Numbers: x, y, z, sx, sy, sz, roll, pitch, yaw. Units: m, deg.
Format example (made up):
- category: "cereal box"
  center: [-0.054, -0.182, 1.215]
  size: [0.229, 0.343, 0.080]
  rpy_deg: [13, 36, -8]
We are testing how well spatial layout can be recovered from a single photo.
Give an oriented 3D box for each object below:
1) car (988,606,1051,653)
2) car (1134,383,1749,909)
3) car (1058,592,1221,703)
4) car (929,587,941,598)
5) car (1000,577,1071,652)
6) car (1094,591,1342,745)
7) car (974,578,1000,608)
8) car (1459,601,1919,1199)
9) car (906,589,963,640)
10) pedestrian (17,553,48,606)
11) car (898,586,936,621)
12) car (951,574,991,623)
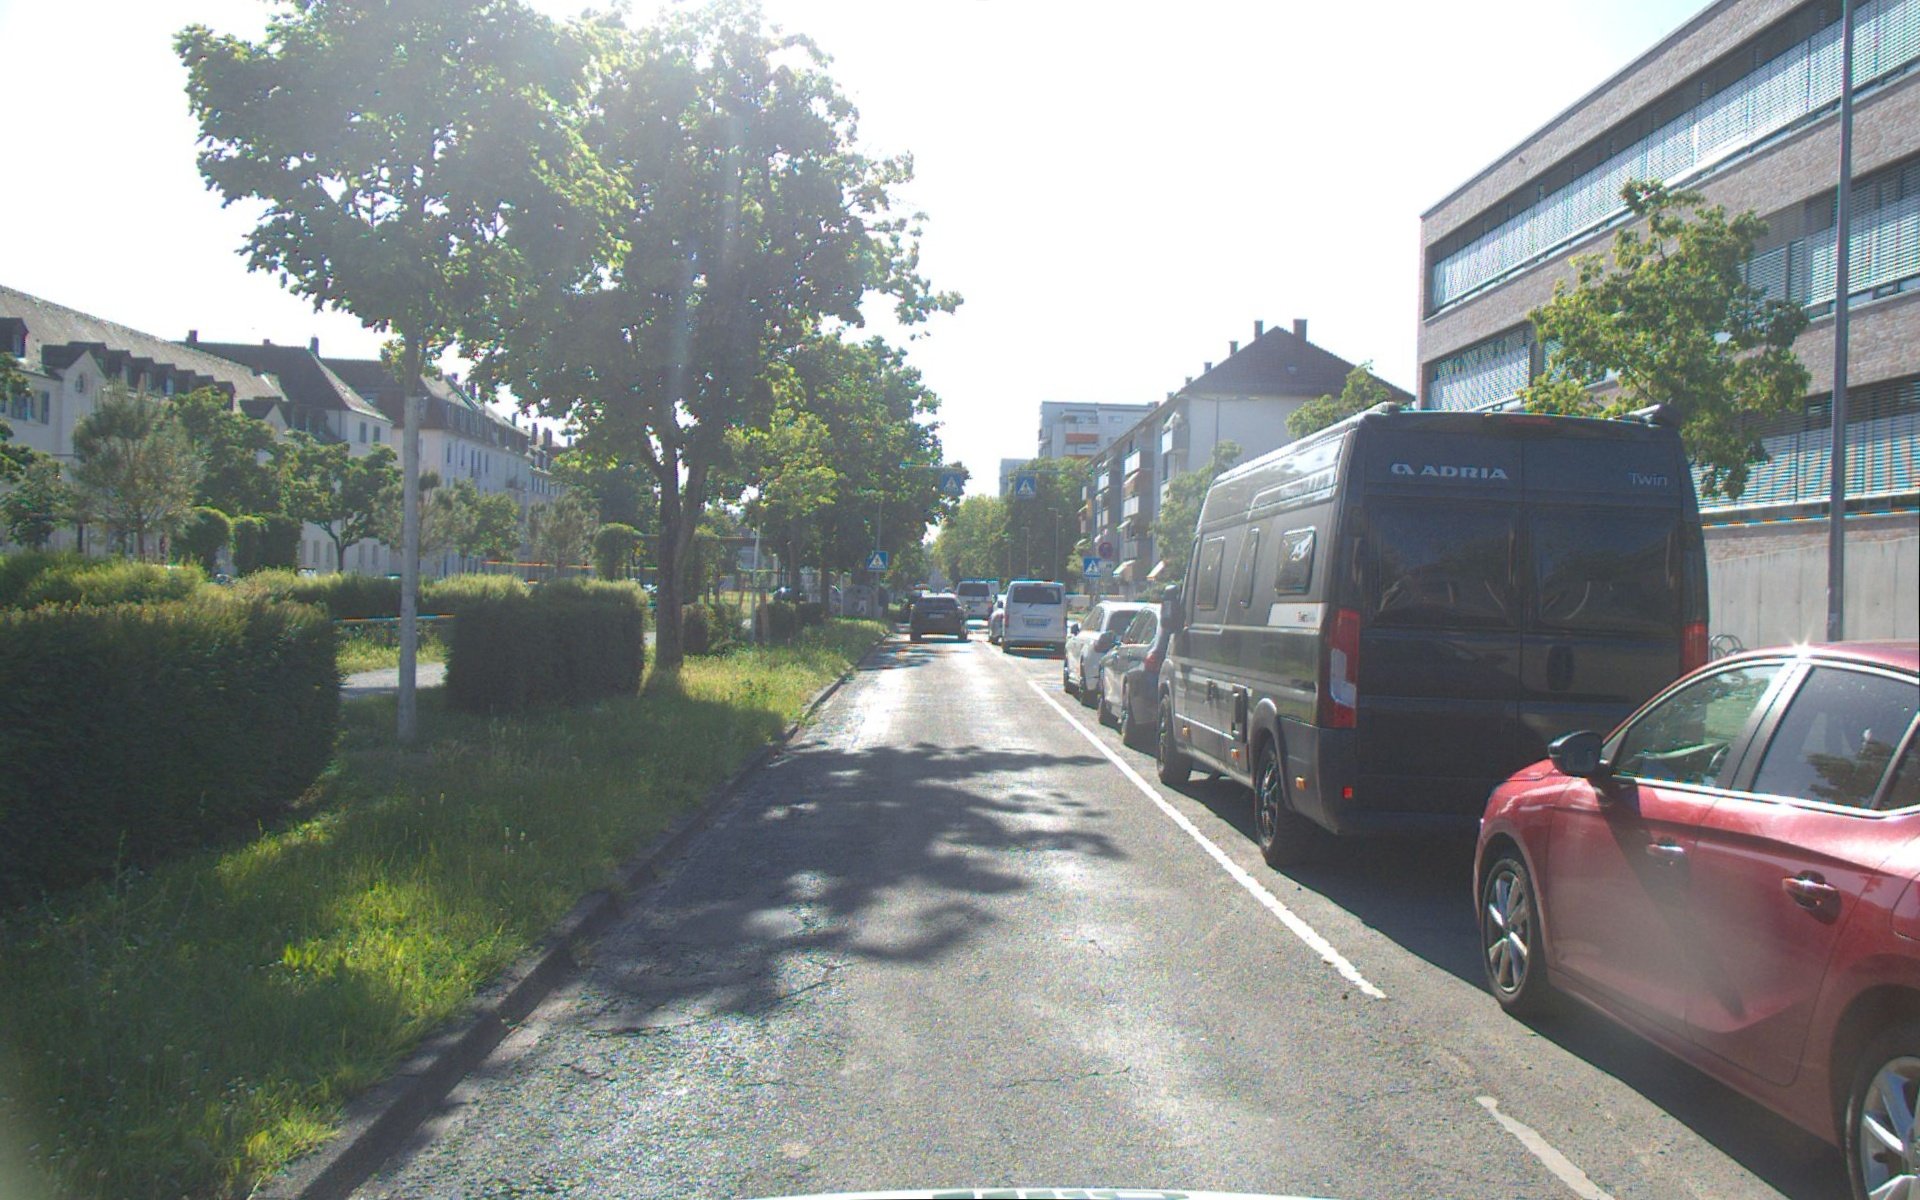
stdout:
- category: "car"
  center: [1.809, 0.887, 51.206]
  size: [1.729, 1.342, 4.167]
  rpy_deg: [2, 0, -1]
- category: "car"
  center: [2.734, 0.217, 11.442]
  size: [2.073, 2.559, 6.529]
  rpy_deg: [1, 0, -2]
- category: "car"
  center: [2.537, 0.622, 24.414]
  size: [1.758, 1.445, 4.656]
  rpy_deg: [1, 0, -2]
- category: "car"
  center: [-3.670, -1.061, 242.221]
  size: [1.758, 1.537, 3.999]
  rpy_deg: [1, 0, -1]
- category: "car"
  center: [2.001, 0.357, 44.785]
  size: [1.757, 1.887, 4.414]
  rpy_deg: [2, 0, 1]
- category: "car"
  center: [2.666, 0.642, 18.191]
  size: [1.953, 1.445, 4.635]
  rpy_deg: [1, 0, -1]
- category: "car"
  center: [2.315, -0.613, 143.057]
  size: [1.953, 2.472, 4.499]
  rpy_deg: [3, 0, -1]
- category: "car"
  center: [3.010, 0.773, 4.892]
  size: [1.758, 1.480, 3.948]
  rpy_deg: [1, 0, -2]
- category: "car"
  center: [-0.815, 0.439, 53.646]
  size: [1.758, 1.536, 3.999]
  rpy_deg: [1, 0, -1]
- category: "pedestrian"
  center: [-30.312, -0.659, 54.043]
  size: [0.635, 1.728, 0.650]
  rpy_deg: [0, 0, -1]
- category: "car"
  center: [-2.119, 0.161, 82.381]
  size: [1.758, 1.652, 3.999]
  rpy_deg: [2, 0, -1]
- category: "car"
  center: [0.482, -0.087, 76.955]
  size: [1.758, 2.159, 3.999]
  rpy_deg: [1, 0, -1]
